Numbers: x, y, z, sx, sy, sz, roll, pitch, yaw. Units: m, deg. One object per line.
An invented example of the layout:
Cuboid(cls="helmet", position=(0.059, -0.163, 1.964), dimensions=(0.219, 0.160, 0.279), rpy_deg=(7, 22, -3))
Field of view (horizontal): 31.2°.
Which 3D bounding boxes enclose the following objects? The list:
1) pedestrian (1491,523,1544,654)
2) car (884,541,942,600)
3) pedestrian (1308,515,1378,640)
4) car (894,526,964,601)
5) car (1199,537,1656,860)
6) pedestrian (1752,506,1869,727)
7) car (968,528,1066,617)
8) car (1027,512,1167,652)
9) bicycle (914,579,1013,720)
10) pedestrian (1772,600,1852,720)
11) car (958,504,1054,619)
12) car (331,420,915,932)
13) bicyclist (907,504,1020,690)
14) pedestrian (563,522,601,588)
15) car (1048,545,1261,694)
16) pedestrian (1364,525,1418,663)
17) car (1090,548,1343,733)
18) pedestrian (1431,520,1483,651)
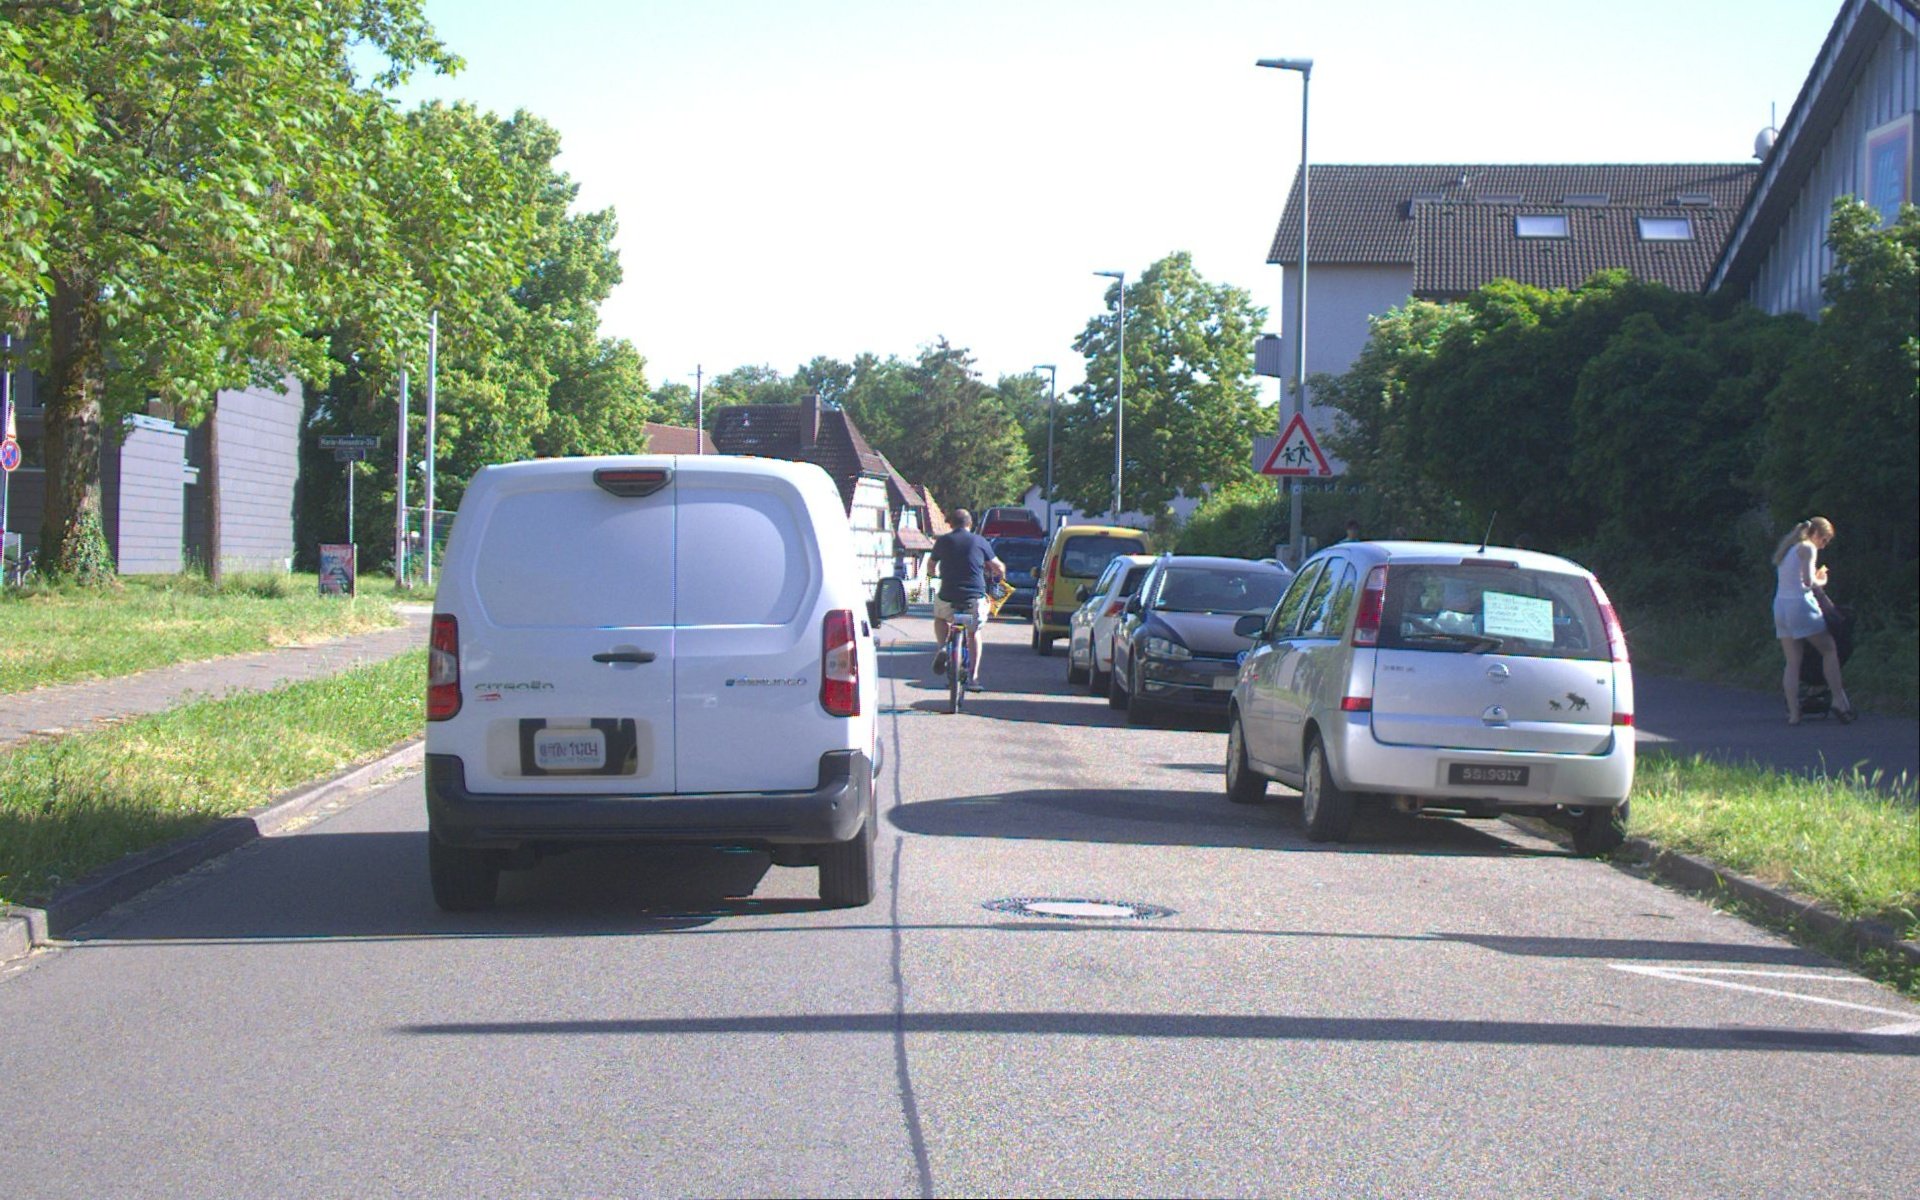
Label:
Cuboid(cls="pedestrian", position=(7.025, -0.150, 43.338), dimensions=(0.567, 1.631, 0.546), rpy_deg=(1, 1, 4))
Cuboid(cls="car", position=(-1.564, -0.974, 114.486), dimensions=(1.804, 1.836, 4.000), rpy_deg=(4, 0, -1))
Cuboid(cls="pedestrian", position=(5.758, -0.344, 51.778), dimensions=(0.793, 1.855, 0.874), rpy_deg=(2, 1, -8))
Cuboid(cls="car", position=(-0.936, -1.055, 101.219), dimensions=(1.804, 2.061, 4.000), rpy_deg=(4, 0, -3))
Cuboid(cls="car", position=(2.516, 0.481, 19.449), dimensions=(1.679, 1.594, 4.029), rpy_deg=(2, 0, -5))
Cuboid(cls="pedestrian", position=(6.995, 0.122, 28.315), dimensions=(0.798, 1.775, 0.809), rpy_deg=(1, 1, 7))
Cuboid(cls="car", position=(1.213, -0.584, 74.892), dimensions=(1.804, 1.779, 4.000), rpy_deg=(4, 0, -3))
Cuboid(cls="car", position=(1.874, -0.263, 48.184), dimensions=(1.724, 1.831, 4.000), rpy_deg=(2, 1, 0))
Cuboid(cls="bicycle", position=(0.018, 0.407, 30.047), dimensions=(0.787, 1.134, 2.280), rpy_deg=(1, 1, -1))
Cuboid(cls="pedestrian", position=(7.217, 0.505, 29.146), dimensions=(0.532, 0.977, 0.810), rpy_deg=(2, 1, 7))
Cuboid(cls="car", position=(1.074, -0.903, 82.132), dimensions=(1.866, 2.553, 4.768), rpy_deg=(4, 0, -3))
Cuboid(cls="car", position=(-1.298, 0.240, 15.052), dimensions=(1.993, 1.875, 4.289), rpy_deg=(1, 1, 1))
Cuboid(cls="bicyclist", position=(0.023, -0.028, 30.136), dimensions=(0.905, 1.579, 0.966), rpy_deg=(2, 0, -2))
Cuboid(cls="pedestrian", position=(-8.306, -0.983, 75.612), dimensions=(0.510, 1.441, 0.638), rpy_deg=(2, 1, 32))
Cuboid(cls="car", position=(2.017, 0.173, 36.709), dimensions=(1.826, 1.447, 4.000), rpy_deg=(2, 1, -3))
Cuboid(cls="pedestrian", position=(5.178, -0.076, 41.313), dimensions=(0.567, 1.631, 0.546), rpy_deg=(1, 1, 4))
Cuboid(cls="car", position=(2.196, 0.301, 30.502), dimensions=(1.807, 1.438, 4.364), rpy_deg=(2, 1, -1))
Cuboid(cls="pedestrian", position=(6.277, -0.191, 43.460), dimensions=(0.567, 1.631, 0.546), rpy_deg=(1, 1, 4))
